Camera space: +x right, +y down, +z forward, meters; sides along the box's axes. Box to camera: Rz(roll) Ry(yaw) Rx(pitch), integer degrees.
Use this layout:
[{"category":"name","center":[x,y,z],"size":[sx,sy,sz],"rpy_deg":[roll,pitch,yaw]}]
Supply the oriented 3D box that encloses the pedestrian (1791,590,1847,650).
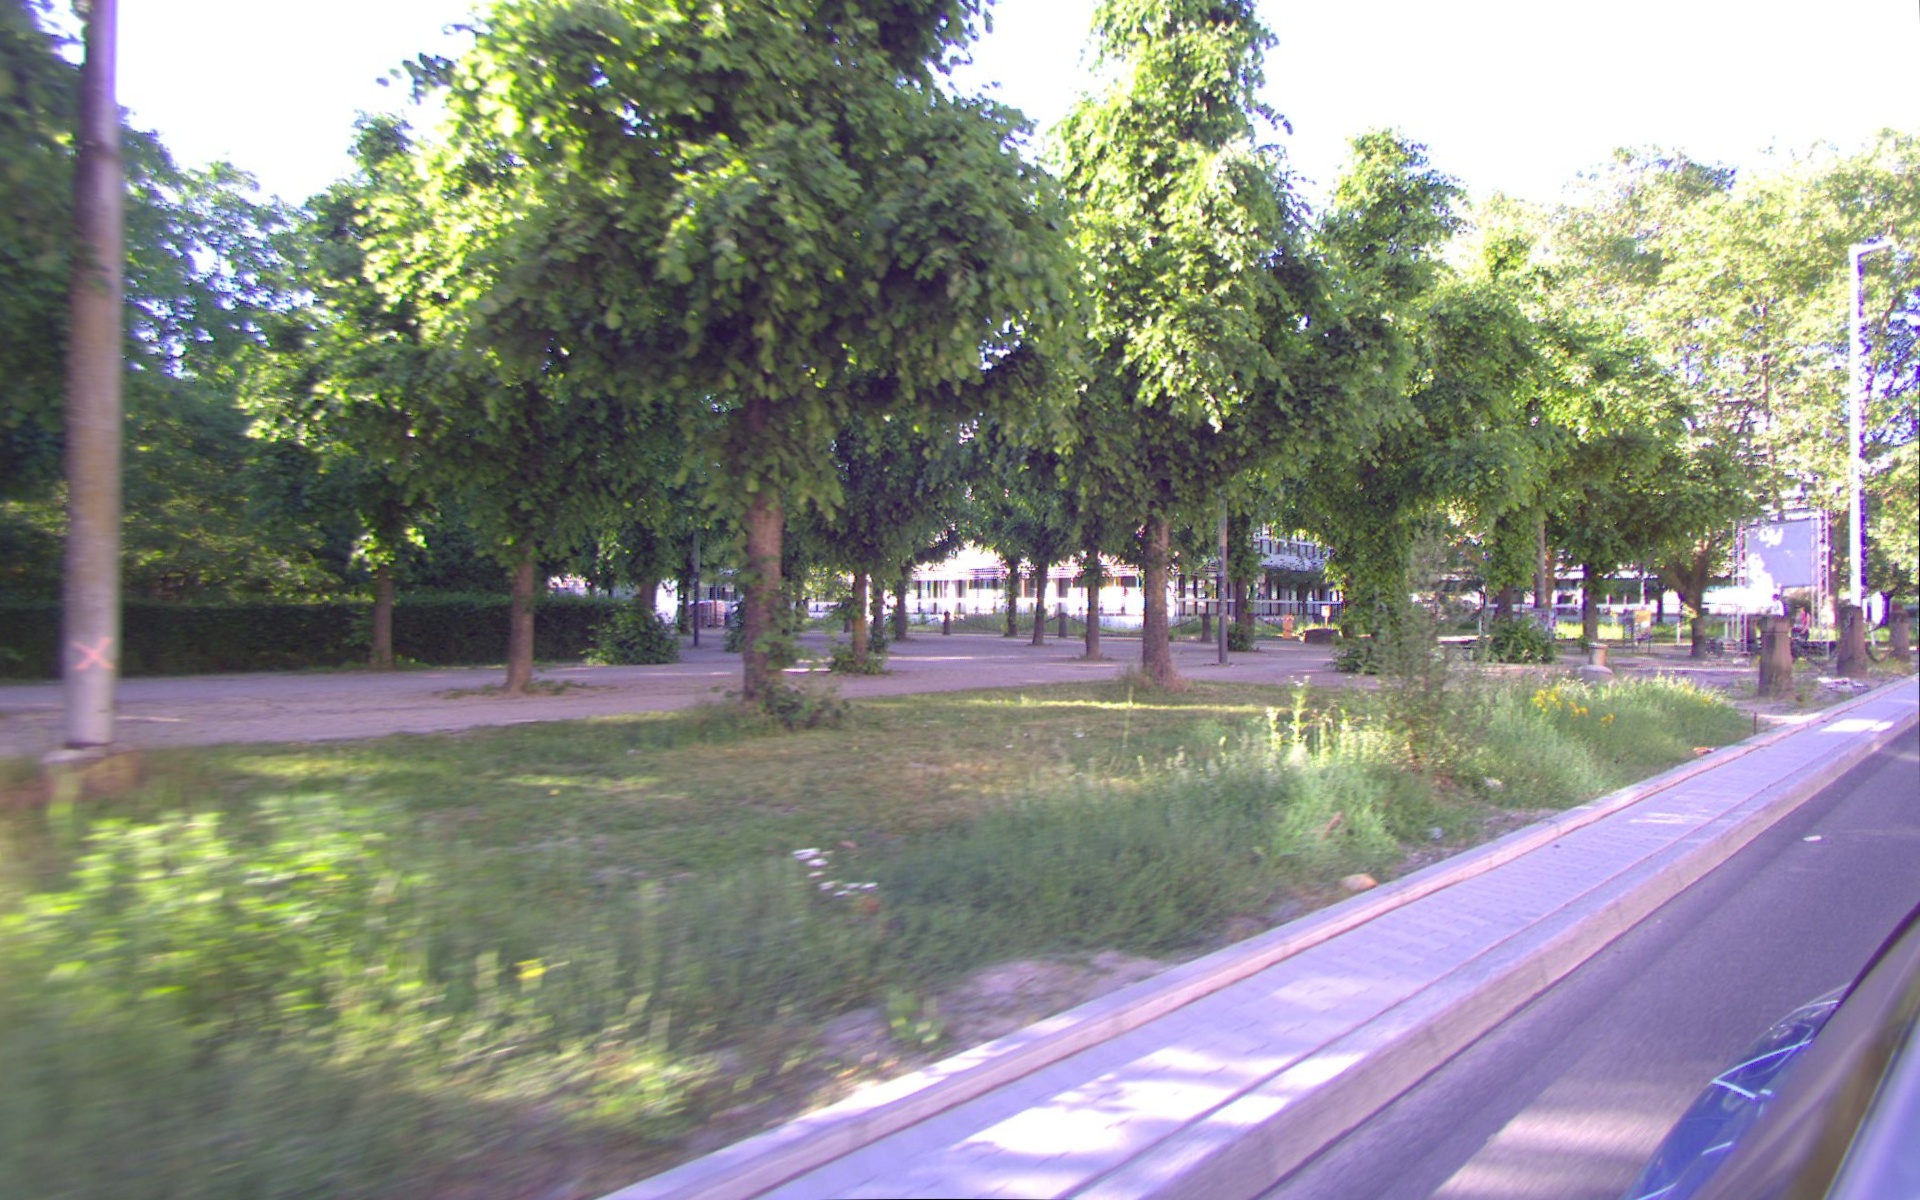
[{"category":"pedestrian","center":[23.901,0.550,28.175],"size":[0.923,1.644,0.708],"rpy_deg":[-1,-1,9]}]

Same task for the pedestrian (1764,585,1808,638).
[{"category":"pedestrian","center":[29.368,0.423,35.997],"size":[1.127,1.836,0.737],"rpy_deg":[0,-3,37]}]
